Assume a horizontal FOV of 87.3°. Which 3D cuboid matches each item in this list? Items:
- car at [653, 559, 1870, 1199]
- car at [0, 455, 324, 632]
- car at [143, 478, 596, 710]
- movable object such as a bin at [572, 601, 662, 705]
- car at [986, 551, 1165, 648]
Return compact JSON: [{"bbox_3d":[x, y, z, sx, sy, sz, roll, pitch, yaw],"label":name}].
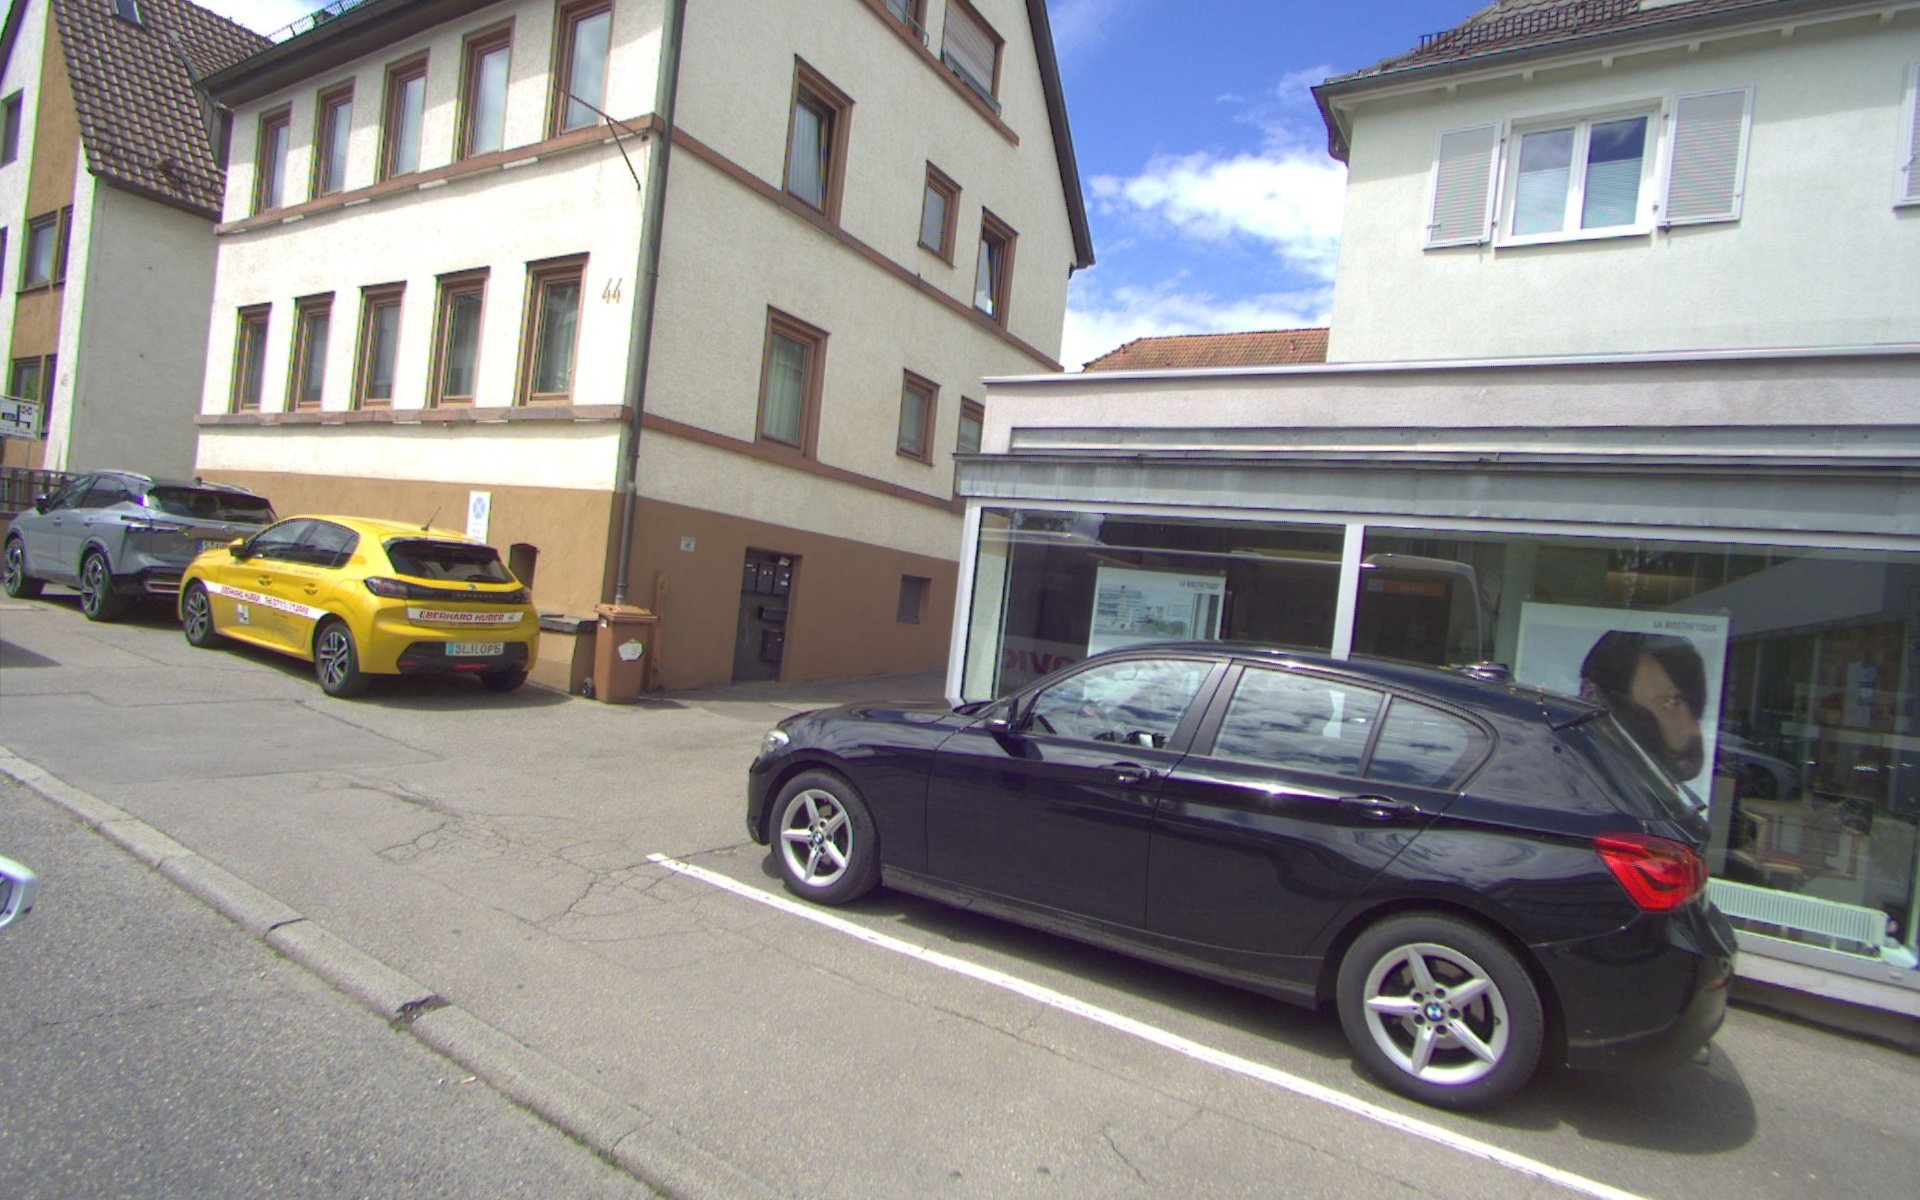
[{"bbox_3d":[0.940,0.818,4.697,4.459,1.466,1.970,7,1,31],"label":"car"},{"bbox_3d":[-9.785,-0.719,12.035,4.510,1.633,1.861,7,2,32],"label":"car"},{"bbox_3d":[-5.748,-0.118,9.673,4.234,1.466,1.879,10,2,31],"label":"car"},{"bbox_3d":[-3.354,0.518,9.838,0.589,0.936,0.501,7,1,37],"label":"movable object such as a bin"},{"bbox_3d":[2.752,-0.034,24.170,3.715,1.928,1.844,6,3,33],"label":"car"}]
